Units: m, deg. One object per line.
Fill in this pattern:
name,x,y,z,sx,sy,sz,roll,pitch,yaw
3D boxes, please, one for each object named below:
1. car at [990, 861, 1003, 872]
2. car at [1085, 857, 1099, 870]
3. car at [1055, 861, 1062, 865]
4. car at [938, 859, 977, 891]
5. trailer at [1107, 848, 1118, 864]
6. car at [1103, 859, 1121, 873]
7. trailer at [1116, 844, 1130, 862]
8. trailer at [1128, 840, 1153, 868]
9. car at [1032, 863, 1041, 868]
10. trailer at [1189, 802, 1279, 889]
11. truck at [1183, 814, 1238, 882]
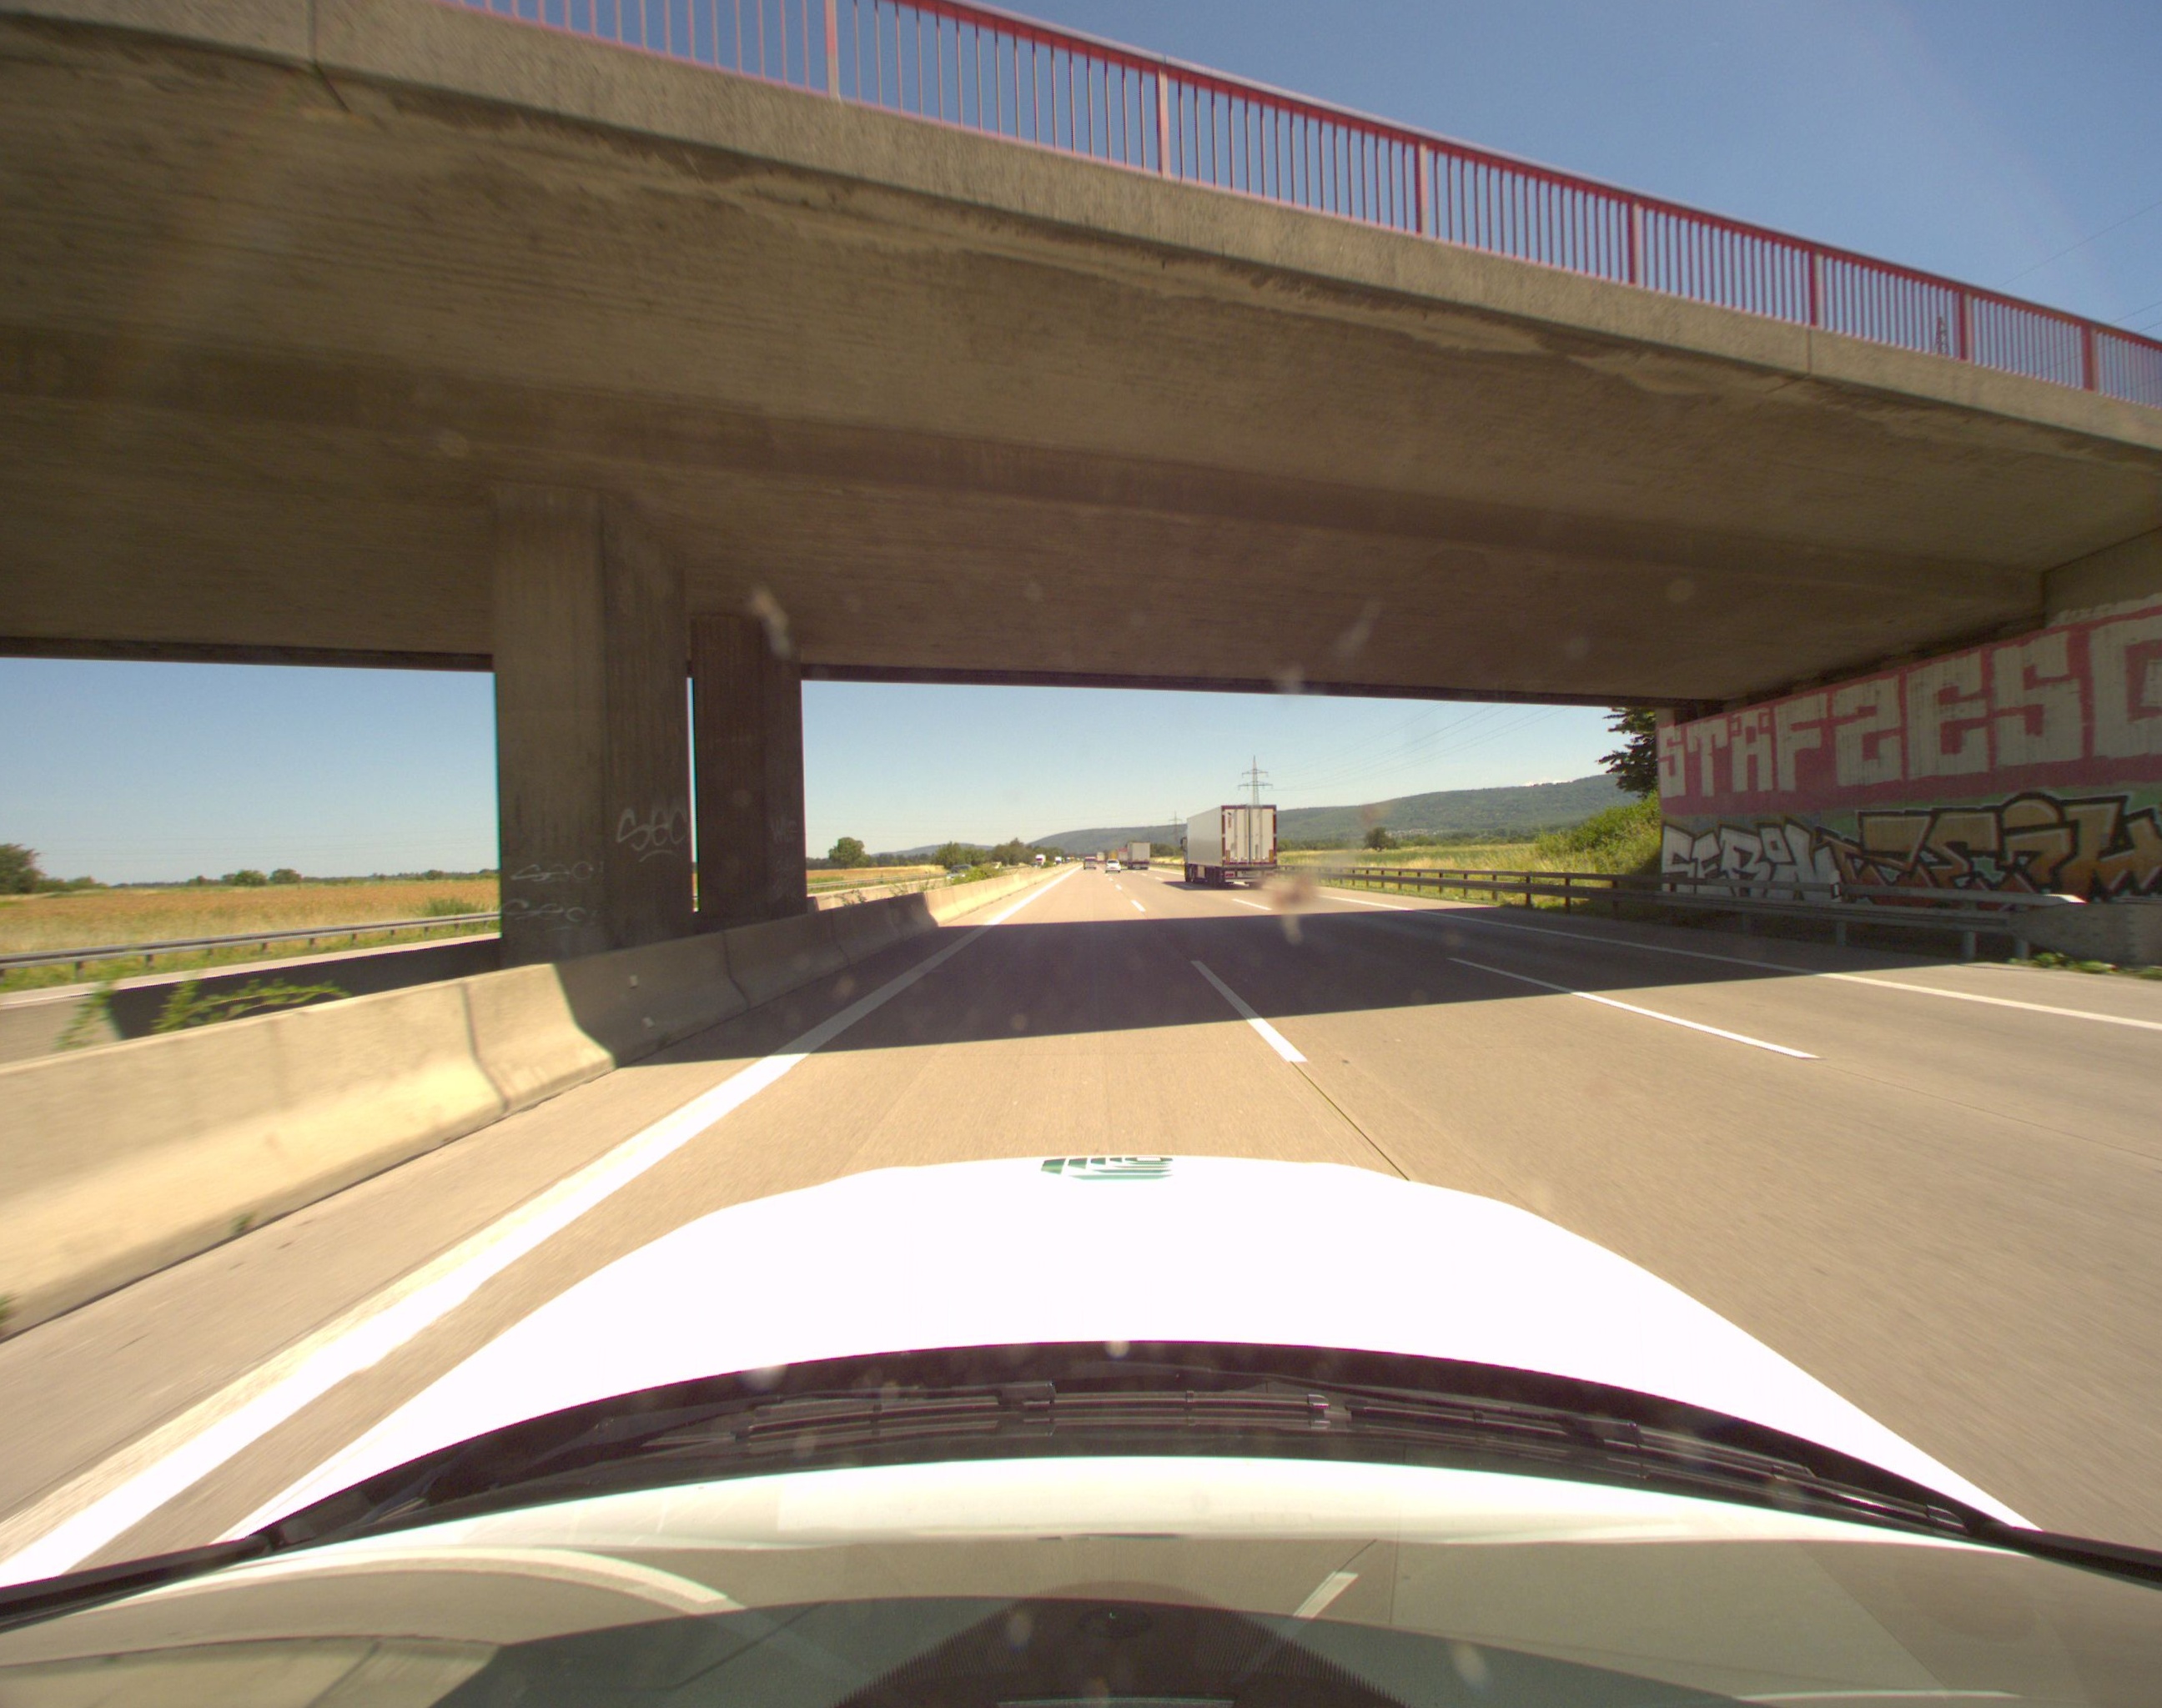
car,-15.662,2.263,151.083,1.859,1.944,5.566,0,0,1
car,1.747,1.436,128.277,2.246,2.014,4.299,0,0,1
car,-6.601,2.663,237.367,1.766,1.240,4.677,0,0,1
car,-8.089,1.350,53.783,1.831,2.014,4.002,0,0,2
trailer,9.538,0.684,248.167,3.204,4.564,13.458,0,0,1
car,3.553,1.357,93.454,2.099,1.536,4.124,0,0,2
trailer,9.441,-0.177,185.999,2.863,4.101,13.516,0,0,2
trailer,8.876,0.046,122.002,3.007,4.061,14.209,0,0,1
car,-10.606,2.732,193.569,1.707,1.359,5.043,0,0,0
trailer,7.986,-0.370,44.465,2.699,4.044,12.903,0,0,1
truck,8.109,-0.341,51.580,2.741,4.044,5.466,0,0,1
